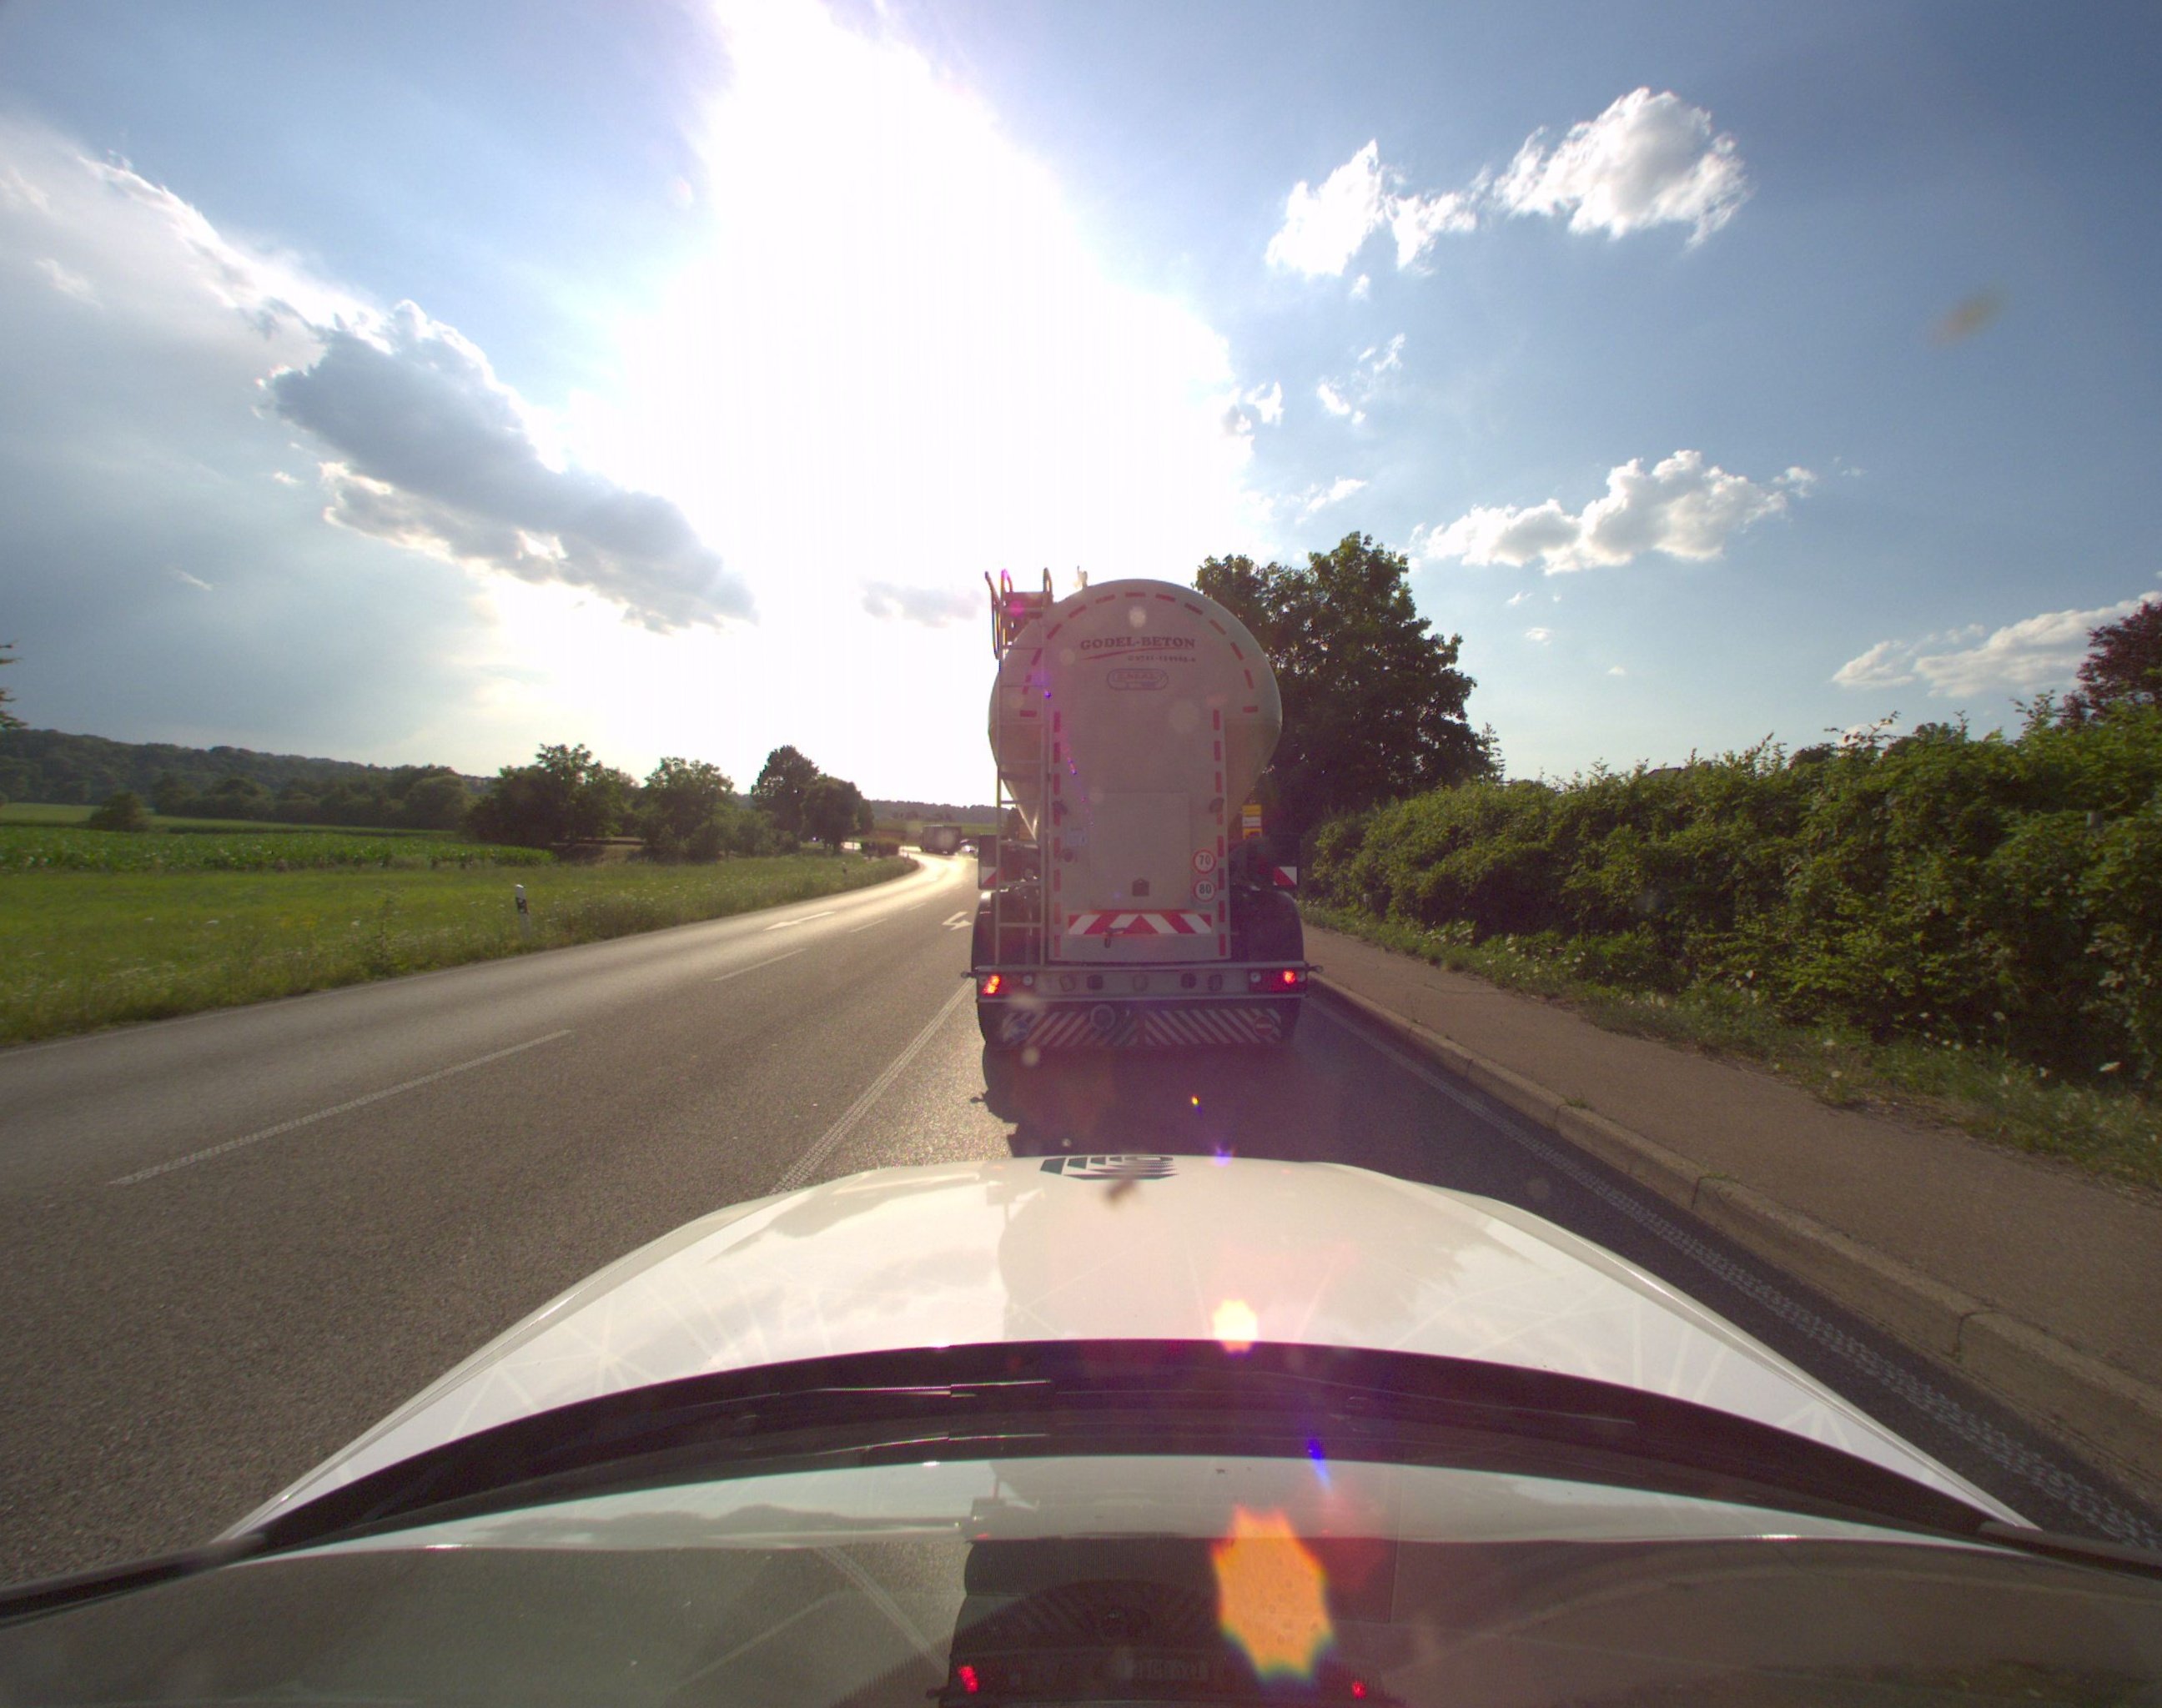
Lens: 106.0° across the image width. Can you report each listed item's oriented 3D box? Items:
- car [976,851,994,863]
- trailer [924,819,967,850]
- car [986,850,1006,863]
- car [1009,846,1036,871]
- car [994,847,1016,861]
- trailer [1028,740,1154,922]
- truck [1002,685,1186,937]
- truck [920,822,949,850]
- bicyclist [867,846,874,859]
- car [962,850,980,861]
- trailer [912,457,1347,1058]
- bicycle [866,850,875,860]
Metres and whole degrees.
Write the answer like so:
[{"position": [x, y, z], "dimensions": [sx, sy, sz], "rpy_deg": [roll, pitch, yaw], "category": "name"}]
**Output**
[{"position": [-11.345, 0.376, 96.268], "dimensions": [1.583, 1.341, 3.407], "rpy_deg": [1, 0, -16], "category": "car"}, {"position": [-20.126, -2.756, 120.317], "dimensions": [3.388, 4.350, 14.192], "rpy_deg": [1, 0, -21], "category": "trailer"}, {"position": [-9.212, 0.274, 88.003], "dimensions": [1.583, 1.341, 3.407], "rpy_deg": [1, 0, -16], "category": "car"}, {"position": [-4.871, 0.363, 67.428], "dimensions": [1.861, 2.013, 3.708], "rpy_deg": [0, 0, -9], "category": "car"}, {"position": [-7.687, -0.008, 81.841], "dimensions": [1.583, 1.341, 3.407], "rpy_deg": [1, 0, -16], "category": "car"}, {"position": [0.498, -0.577, 26.528], "dimensions": [2.943, 4.315, 14.182], "rpy_deg": [1, 0, 2], "category": "trailer"}, {"position": [0.186, -0.688, 15.030], "dimensions": [2.901, 4.006, 4.058], "rpy_deg": [0, 0, -1], "category": "truck"}, {"position": [-23.085, -2.804, 127.960], "dimensions": [3.388, 4.350, 5.665], "rpy_deg": [1, 0, -21], "category": "truck"}, {"position": [-23.050, -0.141, 89.234], "dimensions": [0.634, 1.419, 0.689], "rpy_deg": [2, 0, -7], "category": "bicyclist"}, {"position": [-13.885, 0.147, 102.652], "dimensions": [1.773, 1.205, 3.407], "rpy_deg": [-7, 2, -16], "category": "car"}, {"position": [0.261, -0.658, 10.441], "dimensions": [2.901, 4.006, 9.925], "rpy_deg": [0, 0, -1], "category": "trailer"}, {"position": [-23.058, 0.151, 89.242], "dimensions": [0.634, 1.074, 1.667], "rpy_deg": [2, 0, -6], "category": "bicycle"}]
